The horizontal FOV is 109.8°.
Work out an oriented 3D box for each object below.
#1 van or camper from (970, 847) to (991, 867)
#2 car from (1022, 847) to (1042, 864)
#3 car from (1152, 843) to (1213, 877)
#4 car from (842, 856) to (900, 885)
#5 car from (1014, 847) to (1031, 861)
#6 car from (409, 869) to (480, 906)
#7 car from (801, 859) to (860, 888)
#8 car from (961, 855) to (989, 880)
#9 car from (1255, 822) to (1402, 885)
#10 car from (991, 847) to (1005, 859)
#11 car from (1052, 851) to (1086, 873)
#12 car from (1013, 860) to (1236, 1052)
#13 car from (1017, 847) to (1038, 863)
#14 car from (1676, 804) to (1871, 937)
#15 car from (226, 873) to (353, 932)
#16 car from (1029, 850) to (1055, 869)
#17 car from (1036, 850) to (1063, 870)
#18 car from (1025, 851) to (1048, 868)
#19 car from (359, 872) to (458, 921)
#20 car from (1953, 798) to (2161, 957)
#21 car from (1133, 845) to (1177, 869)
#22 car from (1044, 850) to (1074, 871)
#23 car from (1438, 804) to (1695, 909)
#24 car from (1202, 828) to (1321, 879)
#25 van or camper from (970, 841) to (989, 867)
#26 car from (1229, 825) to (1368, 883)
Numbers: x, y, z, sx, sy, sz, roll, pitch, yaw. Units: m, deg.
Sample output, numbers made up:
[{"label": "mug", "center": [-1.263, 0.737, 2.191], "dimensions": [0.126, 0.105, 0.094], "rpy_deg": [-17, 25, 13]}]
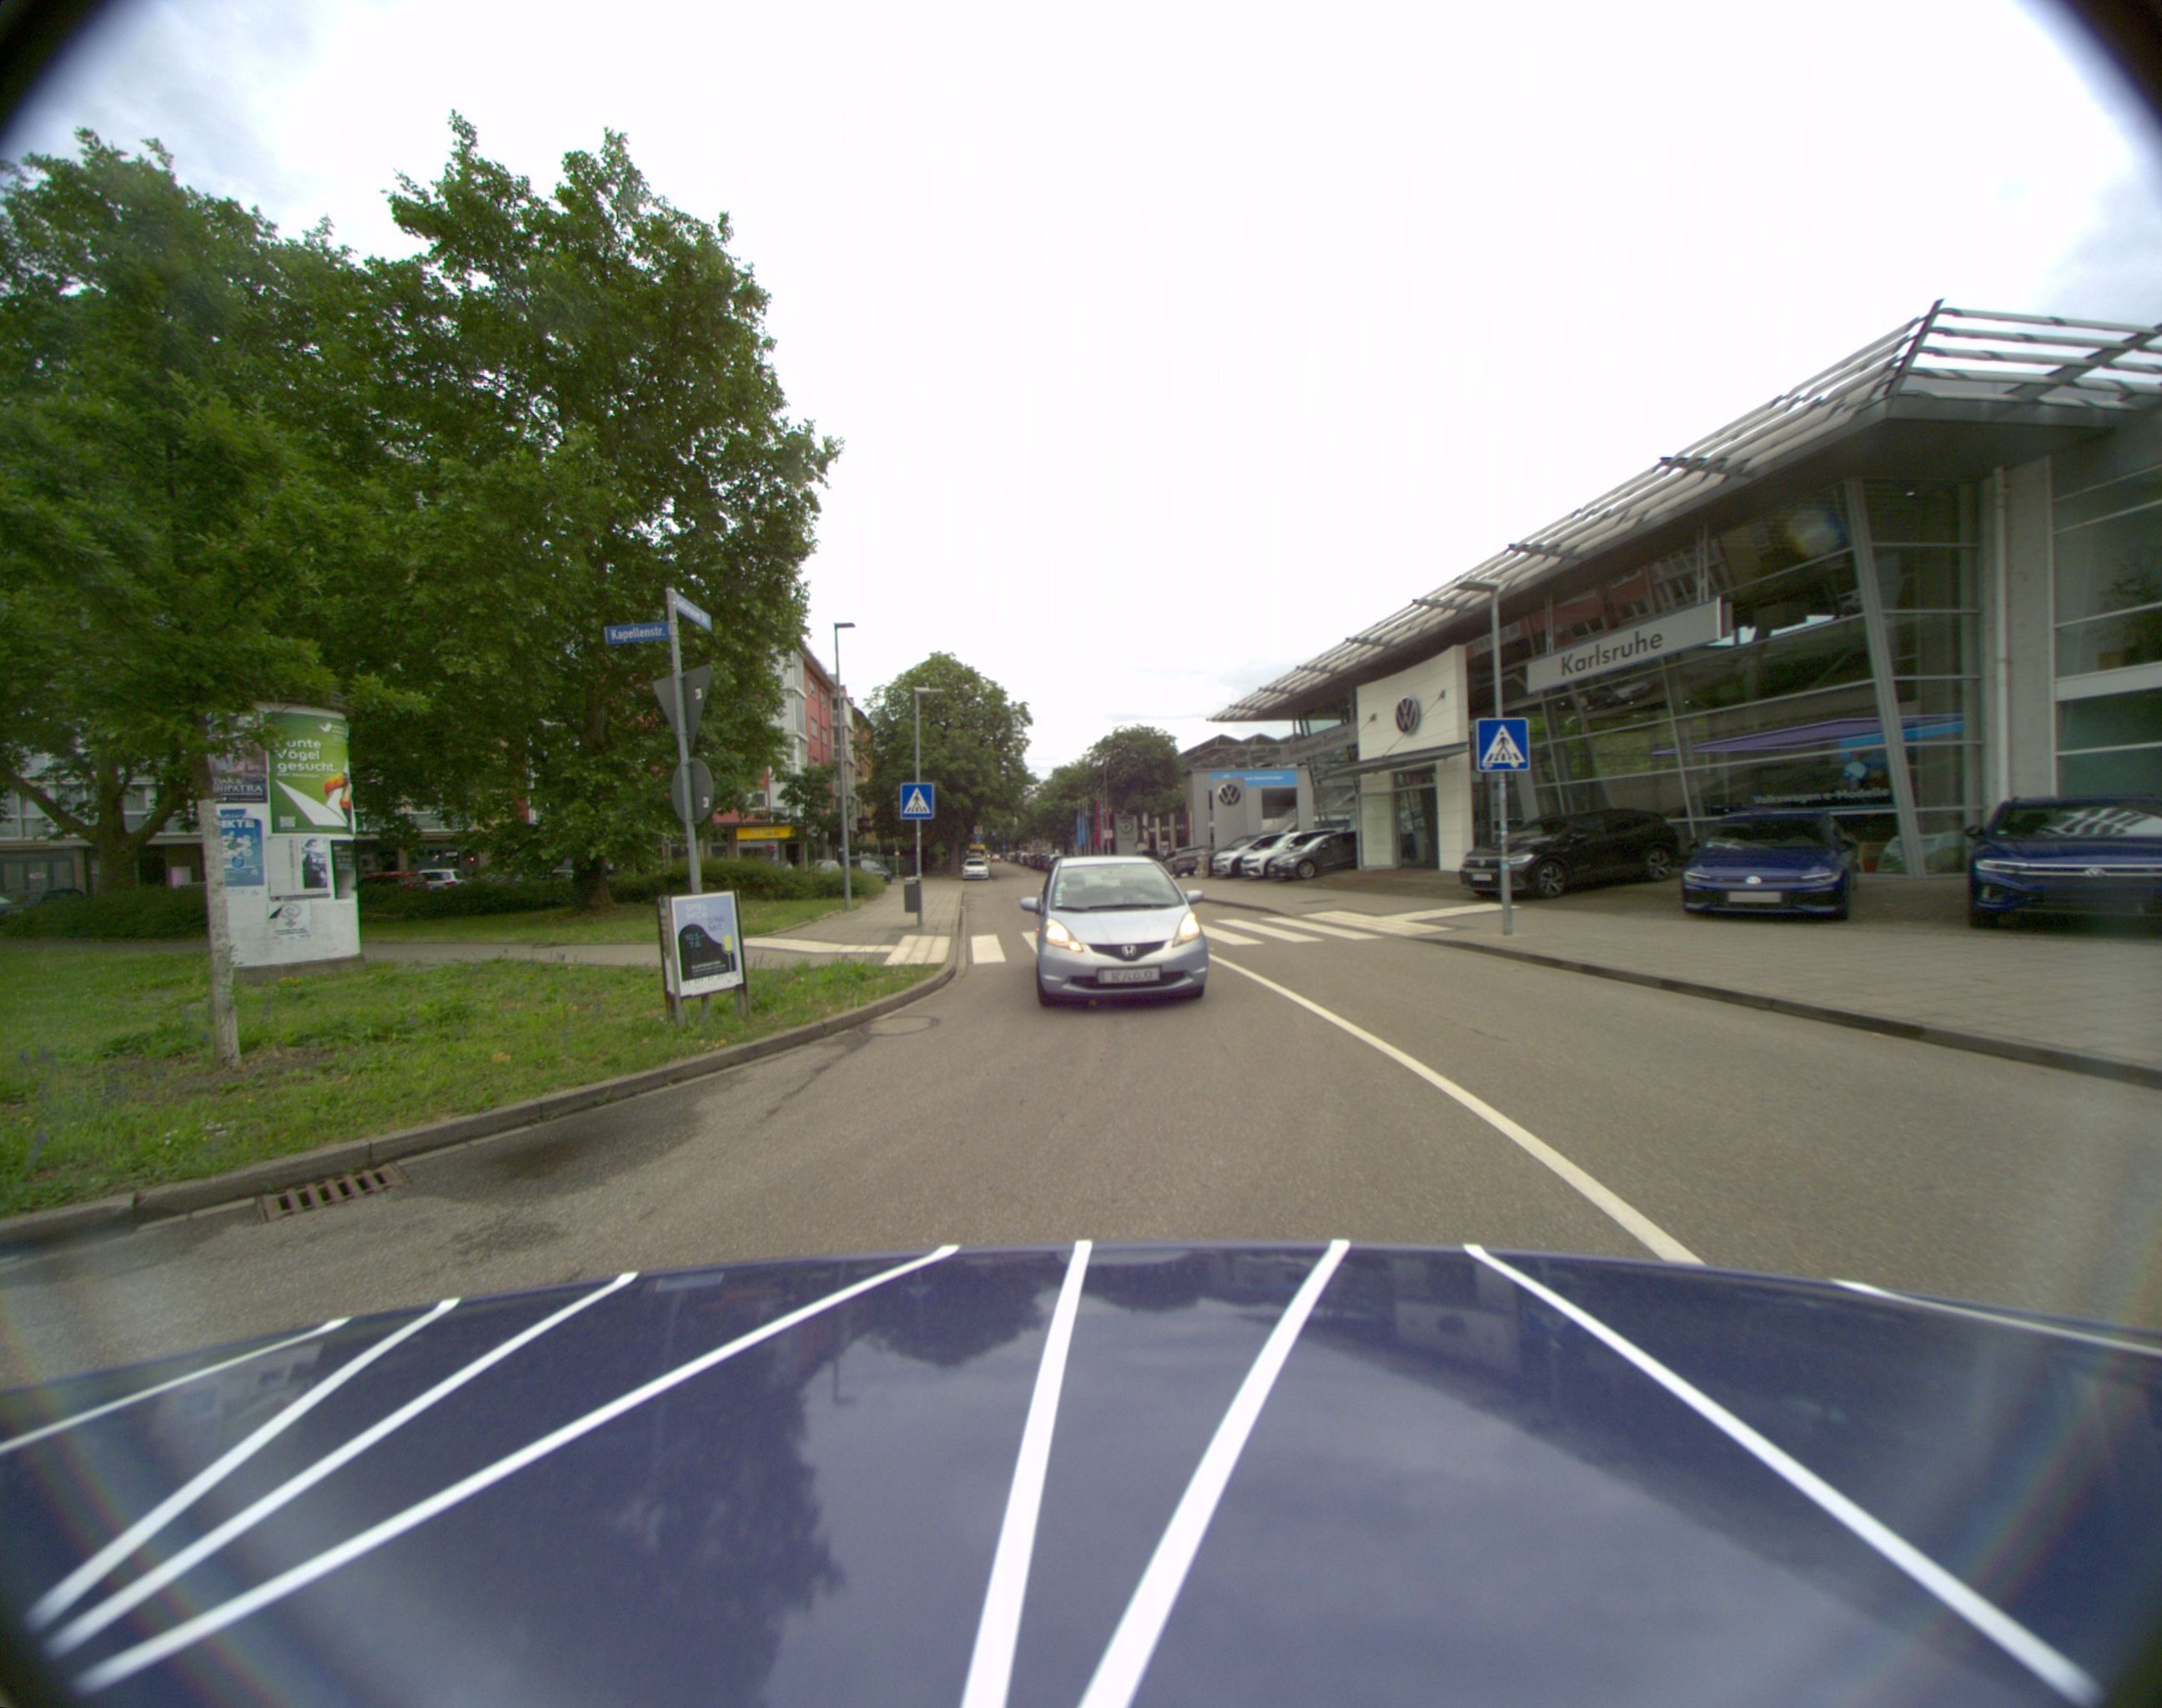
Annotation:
[{"label": "van or camper", "center": [-10.574, 0.331, 79.766], "dimensions": [2.000, 2.002, 3.997], "rpy_deg": [-2, 1, -8]}, {"label": "car", "center": [-6.029, 0.161, 93.089], "dimensions": [1.861, 1.974, 4.471], "rpy_deg": [-4, 1, -11]}, {"label": "car", "center": [5.250, 0.306, 39.757], "dimensions": [1.920, 1.554, 4.011], "rpy_deg": [-4, 0, -11]}, {"label": "car", "center": [-12.648, 0.963, 45.589], "dimensions": [1.864, 1.539, 4.463], "rpy_deg": [-3, 2, -36]}, {"label": "car", "center": [-8.765, -0.017, 113.531], "dimensions": [2.023, 1.974, 4.778], "rpy_deg": [-4, 1, -11]}, {"label": "car", "center": [-30.233, 1.561, 36.219], "dimensions": [1.864, 1.539, 4.465], "rpy_deg": [-3, 1, -31]}, {"label": "car", "center": [-14.791, 1.108, 44.766], "dimensions": [1.864, 1.539, 4.463], "rpy_deg": [-3, 2, -38]}, {"label": "car", "center": [-7.350, 0.907, 52.423], "dimensions": [1.861, 1.539, 4.471], "rpy_deg": [-1, 1, -9]}, {"label": "car", "center": [8.735, -0.020, 27.002], "dimensions": [4.475, 1.687, 1.896], "rpy_deg": [-6, 1, -9]}, {"label": "car", "center": [-14.688, -0.219, 133.785], "dimensions": [2.023, 1.974, 4.778], "rpy_deg": [-4, 1, -11]}, {"label": "car", "center": [-1.009, 0.595, 59.941], "dimensions": [1.861, 1.614, 4.471], "rpy_deg": [-4, 1, -11]}, {"label": "car", "center": [0.212, 0.878, 8.555], "dimensions": [1.754, 1.458, 4.095], "rpy_deg": [-4, 1, -6]}, {"label": "car", "center": [-6.959, 0.126, 98.759], "dimensions": [2.023, 1.974, 4.778], "rpy_deg": [-4, 1, -11]}, {"label": "car", "center": [10.789, 0.142, 11.725], "dimensions": [4.345, 1.496, 1.853], "rpy_deg": [-7, 4, -43]}, {"label": "car", "center": [-27.187, 1.584, 26.295], "dimensions": [1.864, 1.712, 4.465], "rpy_deg": [-3, 1, -31]}, {"label": "car", "center": [-3.900, 0.517, 75.427], "dimensions": [1.861, 1.614, 4.471], "rpy_deg": [-4, 1, -11]}, {"label": "car", "center": [-2.970, 0.535, 70.844], "dimensions": [1.861, 1.614, 4.471], "rpy_deg": [-4, 1, -11]}, {"label": "car", "center": [-4.752, 0.571, 80.515], "dimensions": [1.861, 1.614, 4.471], "rpy_deg": [-4, 1, -11]}, {"label": "car", "center": [-24.583, 1.483, 27.945], "dimensions": [1.864, 1.539, 4.465], "rpy_deg": [-3, 1, -31]}, {"label": "car", "center": [12.127, 0.162, 9.287], "dimensions": [4.228, 1.554, 1.896], "rpy_deg": [-4, 2, -41]}, {"label": "car", "center": [5.231, 0.200, 54.577], "dimensions": [1.899, 1.539, 4.471], "rpy_deg": [-4, 1, -11]}, {"label": "car", "center": [-1.923, 0.555, 65.708], "dimensions": [1.861, 1.614, 4.471], "rpy_deg": [-4, 1, -11]}, {"label": "car", "center": [10.099, 0.025, 15.897], "dimensions": [4.510, 1.623, 1.859], "rpy_deg": [-6, 1, -14]}, {"label": "car", "center": [7.722, -0.013, 32.680], "dimensions": [4.475, 1.689, 1.868], "rpy_deg": [-6, 1, -8]}, {"label": "van or camper", "center": [-11.303, -0.032, 84.692], "dimensions": [2.000, 2.756, 3.997], "rpy_deg": [-2, 1, -8]}, {"label": "car", "center": [8.463, -0.012, 29.717], "dimensions": [4.775, 1.689, 1.860], "rpy_deg": [-6, 1, -8]}]
